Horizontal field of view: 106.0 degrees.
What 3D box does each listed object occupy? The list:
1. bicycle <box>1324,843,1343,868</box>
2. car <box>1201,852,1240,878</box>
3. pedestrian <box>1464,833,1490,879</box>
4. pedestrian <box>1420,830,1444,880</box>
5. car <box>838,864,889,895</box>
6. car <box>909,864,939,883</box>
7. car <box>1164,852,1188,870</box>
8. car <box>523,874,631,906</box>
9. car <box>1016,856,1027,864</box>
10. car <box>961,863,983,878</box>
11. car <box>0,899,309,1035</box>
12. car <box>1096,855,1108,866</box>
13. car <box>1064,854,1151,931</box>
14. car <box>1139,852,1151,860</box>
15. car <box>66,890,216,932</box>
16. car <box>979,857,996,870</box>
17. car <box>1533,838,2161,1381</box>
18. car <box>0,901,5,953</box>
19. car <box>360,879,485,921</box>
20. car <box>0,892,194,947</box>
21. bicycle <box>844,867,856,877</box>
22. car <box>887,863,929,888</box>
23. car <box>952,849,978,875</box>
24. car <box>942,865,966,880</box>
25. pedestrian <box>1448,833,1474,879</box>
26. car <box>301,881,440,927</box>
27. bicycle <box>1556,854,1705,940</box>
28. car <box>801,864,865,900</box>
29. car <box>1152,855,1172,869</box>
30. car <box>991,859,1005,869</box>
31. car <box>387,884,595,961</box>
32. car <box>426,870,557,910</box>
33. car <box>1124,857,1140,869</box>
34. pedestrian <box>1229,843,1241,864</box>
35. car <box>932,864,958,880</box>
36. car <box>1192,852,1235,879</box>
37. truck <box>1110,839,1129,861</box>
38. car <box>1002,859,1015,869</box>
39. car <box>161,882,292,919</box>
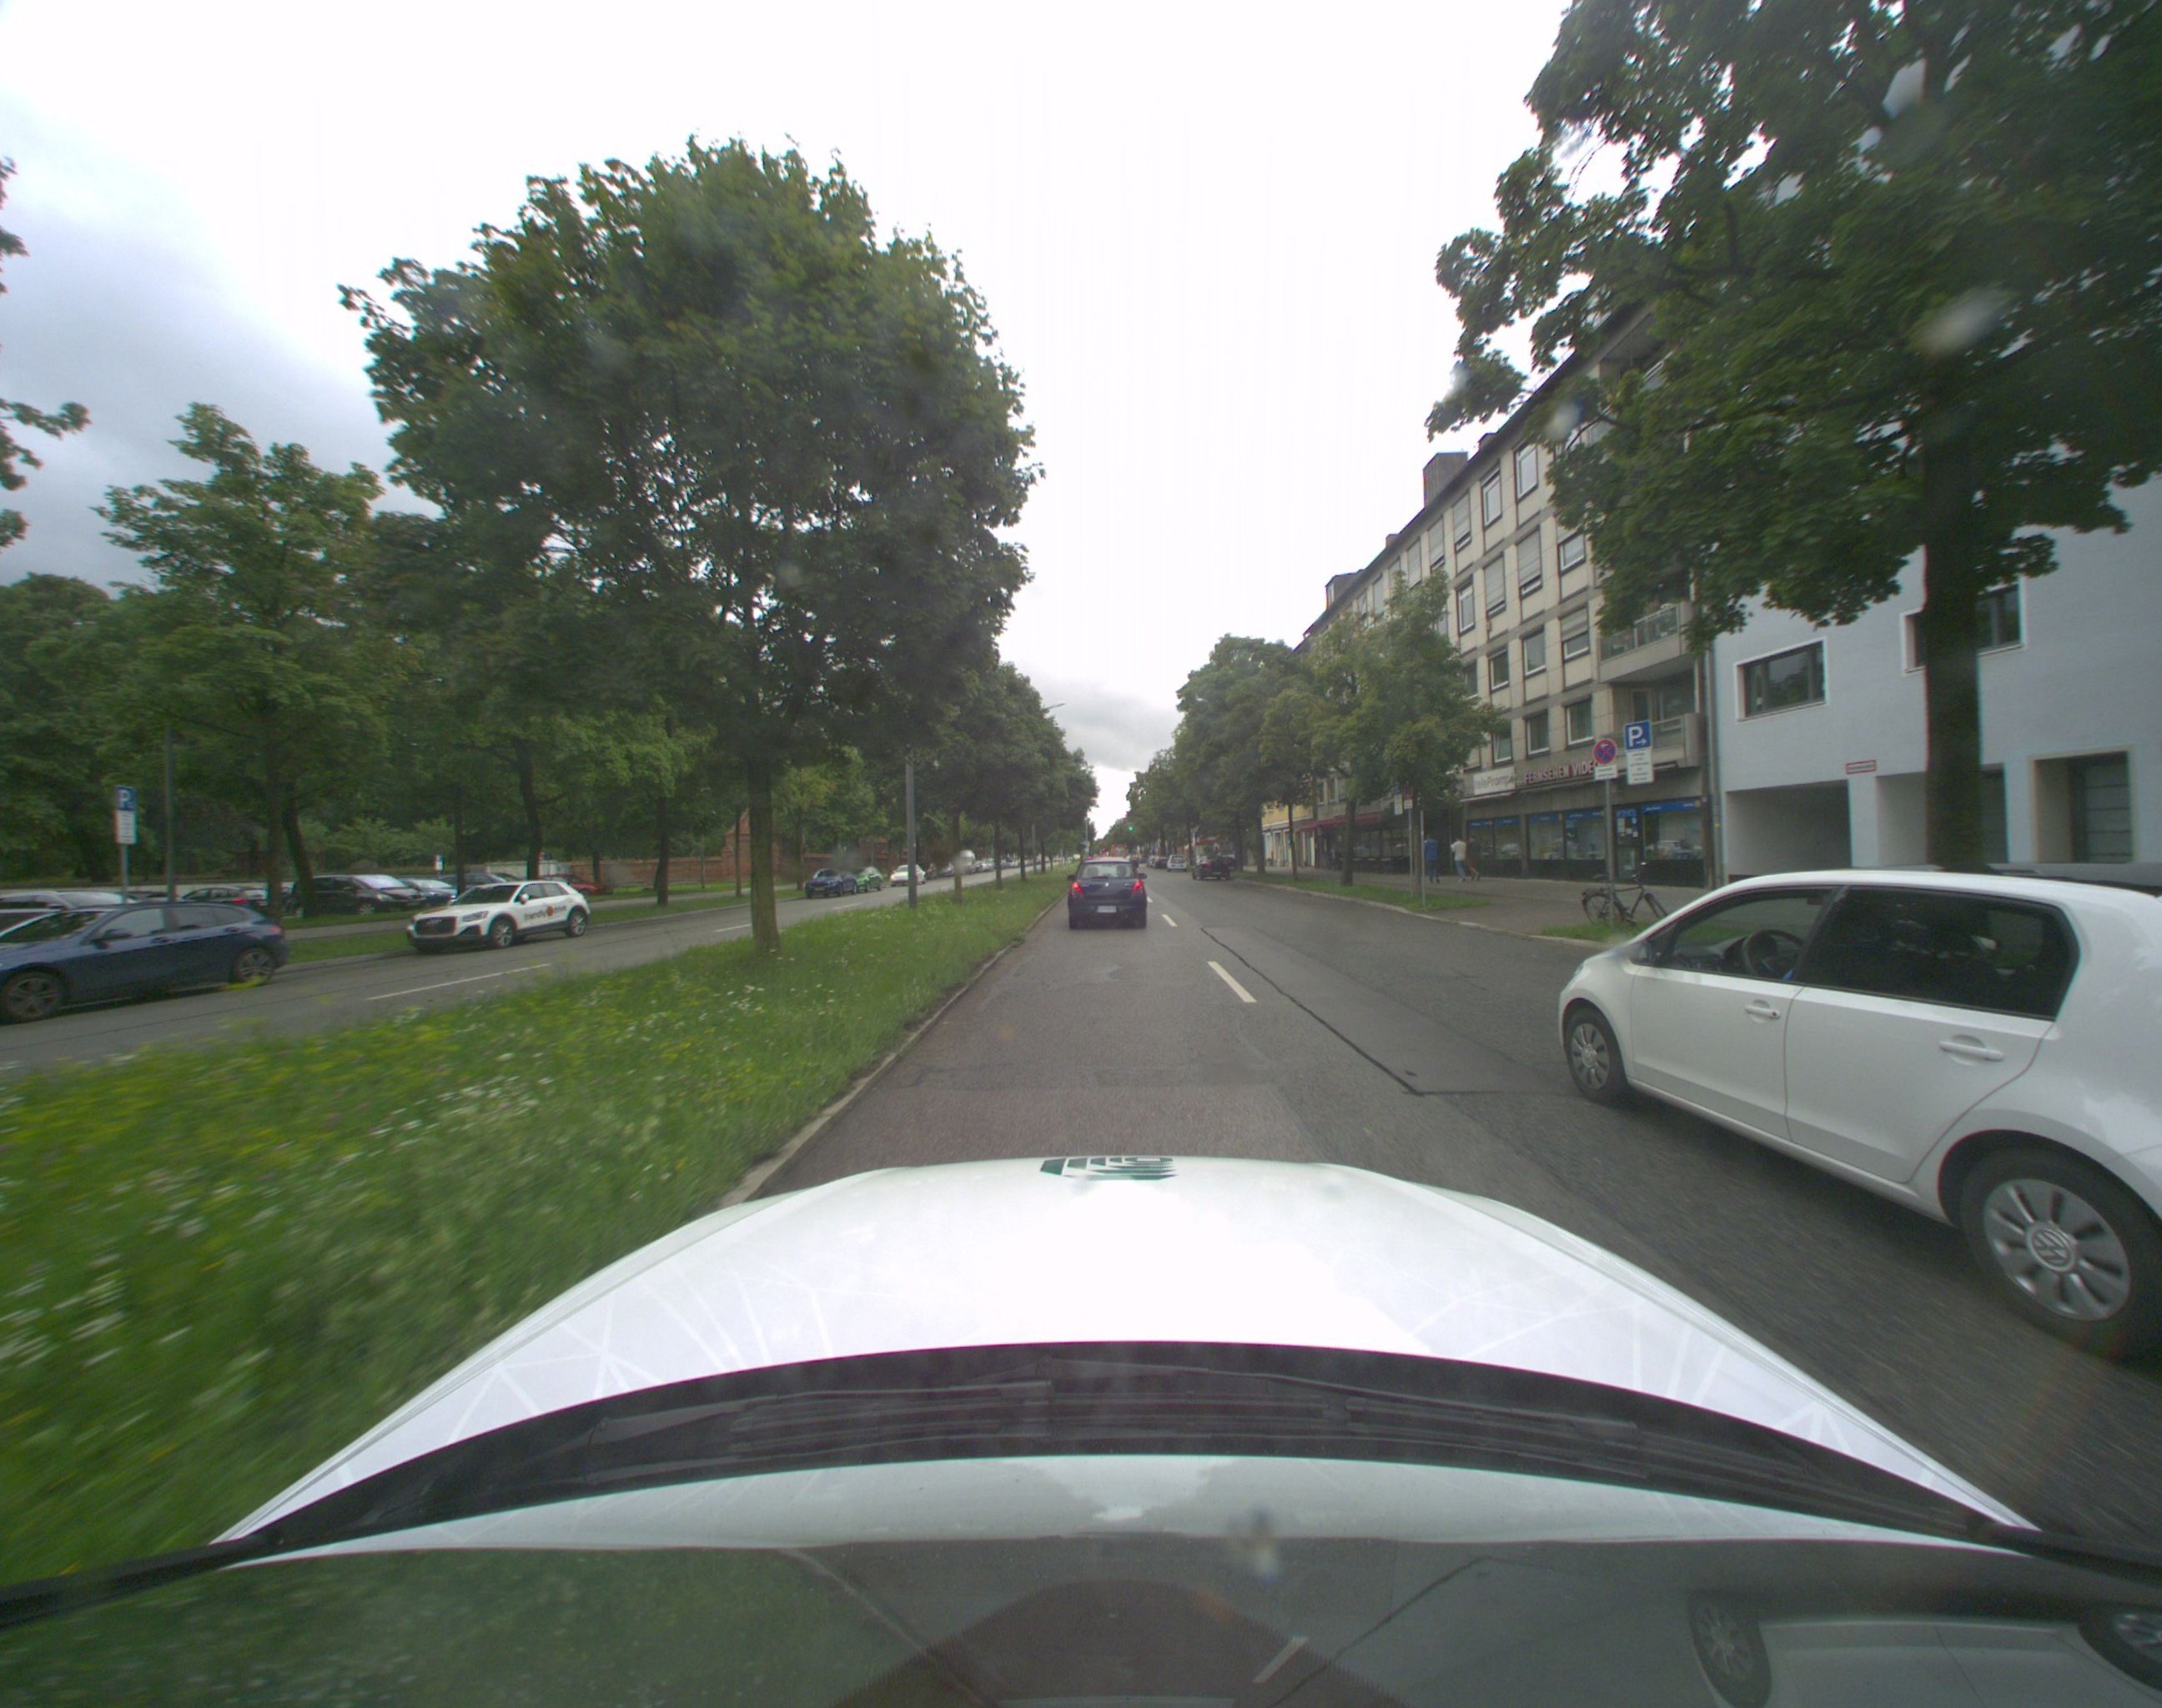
[{"bbox_3d":[15.229,0.091,49.141,0.578,1.463,1.689,-2,0,2],"label":"bicycle"},{"bbox_3d":[9.489,0.715,55.803,1.986,1.643,4.335,-2,0,2],"label":"car"},{"bbox_3d":[14.376,0.061,29.594,0.539,1.640,0.725,-2,0,1],"label":"pedestrian"},{"bbox_3d":[12.654,0.034,29.374,0.498,1.733,0.733,-2,0,1],"label":"pedestrian"},{"bbox_3d":[-12.746,1.479,47.933,1.632,1.537,4.316,-5,0,1],"label":"car"},{"bbox_3d":[-14.144,1.756,73.578,1.807,1.536,4.298,-1,0,1],"label":"car"},{"bbox_3d":[8.491,0.597,73.047,1.649,1.452,3.998,-2,0,-1],"label":"car"},{"bbox_3d":[-25.962,1.823,42.022,4.397,1.392,1.760,-2,0,1],"label":"car"},{"bbox_3d":[-12.285,1.269,168.155,1.795,1.534,4.001,-2,0,1],"label":"car"},{"bbox_3d":[-13.708,2.019,102.436,2.179,1.736,4.576,-1,0,-1],"label":"car"},{"bbox_3d":[-14.013,1.507,11.636,1.851,1.491,4.251,-2,-1,0],"label":"car"},{"bbox_3d":[3.235,0.964,123.608,1.712,1.500,4.302,-2,0,1],"label":"car"},{"bbox_3d":[0.620,0.793,18.738,1.746,1.505,4.002,-2,0,2],"label":"car"},{"bbox_3d":[12.202,0.354,155.624,1.986,1.530,4.001,-2,0,1],"label":"car"},{"bbox_3d":[-38.156,2.287,33.129,3.973,1.536,1.816,-1,0,0],"label":"car"},{"bbox_3d":[-12.994,1.326,113.483,1.700,1.734,4.001,-2,0,1],"label":"car"},{"bbox_3d":[3.844,0.686,3.767,1.680,1.490,3.436,-1,0,2],"label":"car"},{"bbox_3d":[-26.894,1.765,18.041,3.968,1.209,1.786,-2,0,4],"label":"car"},{"bbox_3d":[-27.228,1.909,33.716,3.958,1.505,2.008,-2,0,14],"label":"car"},{"bbox_3d":[-27.177,1.777,22.218,4.154,1.209,1.786,-2,0,4],"label":"car"},{"bbox_3d":[-21.312,1.647,75.222,0.653,0.936,1.619,-2,0,-1],"label":"bicycle"},{"bbox_3d":[-12.367,1.507,58.554,1.753,1.537,4.319,-5,0,3],"label":"car"},{"bbox_3d":[-13.646,0.916,95.877,2.179,2.953,6.189,-1,0,-1],"label":"car"},{"bbox_3d":[-13.830,1.976,88.752,1.807,1.536,4.820,-1,0,1],"label":"car"},{"bbox_3d":[13.683,0.077,29.358,0.547,1.629,0.641,-4,0,1],"label":"pedestrian"},{"bbox_3d":[-26.748,1.881,30.719,3.958,1.505,2.008,-2,0,14],"label":"car"},{"bbox_3d":[8.728,0.643,13.061,0.455,1.256,2.137,-2,0,-17],"label":"bicycle"},{"bbox_3d":[-12.813,1.413,42.372,1.881,1.537,4.313,-5,0,0],"label":"car"},{"bbox_3d":[8.920,0.895,89.595,1.648,1.452,4.706,-2,0,-1],"label":"car"},{"bbox_3d":[-12.994,1.571,127.564,1.700,1.534,4.001,-2,0,1],"label":"car"},{"bbox_3d":[-13.737,1.521,19.327,1.851,1.491,4.141,-2,-1,0],"label":"car"},{"bbox_3d":[-26.280,1.581,36.430,4.334,1.505,2.000,-2,0,1],"label":"car"},{"bbox_3d":[6.453,1.117,102.782,1.815,1.477,4.692,0,0,1],"label":"car"},{"bbox_3d":[13.936,-0.056,73.881,0.790,1.855,0.776,-4,0,-2],"label":"pedestrian"},{"bbox_3d":[-13.906,1.833,83.323,1.807,1.536,4.441,-1,0,1],"label":"car"},{"bbox_3d":[7.788,0.638,48.296,1.986,1.452,4.002,-2,0,2],"label":"car"},{"bbox_3d":[6.623,-0.669,139.598,3.029,3.557,13.682,-2,0,2],"label":"truck"},{"bbox_3d":[-12.885,1.742,144.741,1.795,1.534,4.001,-2,0,1],"label":"car"},{"bbox_3d":[-38.720,2.083,36.963,3.973,1.536,1.816,-1,0,0],"label":"car"}]
